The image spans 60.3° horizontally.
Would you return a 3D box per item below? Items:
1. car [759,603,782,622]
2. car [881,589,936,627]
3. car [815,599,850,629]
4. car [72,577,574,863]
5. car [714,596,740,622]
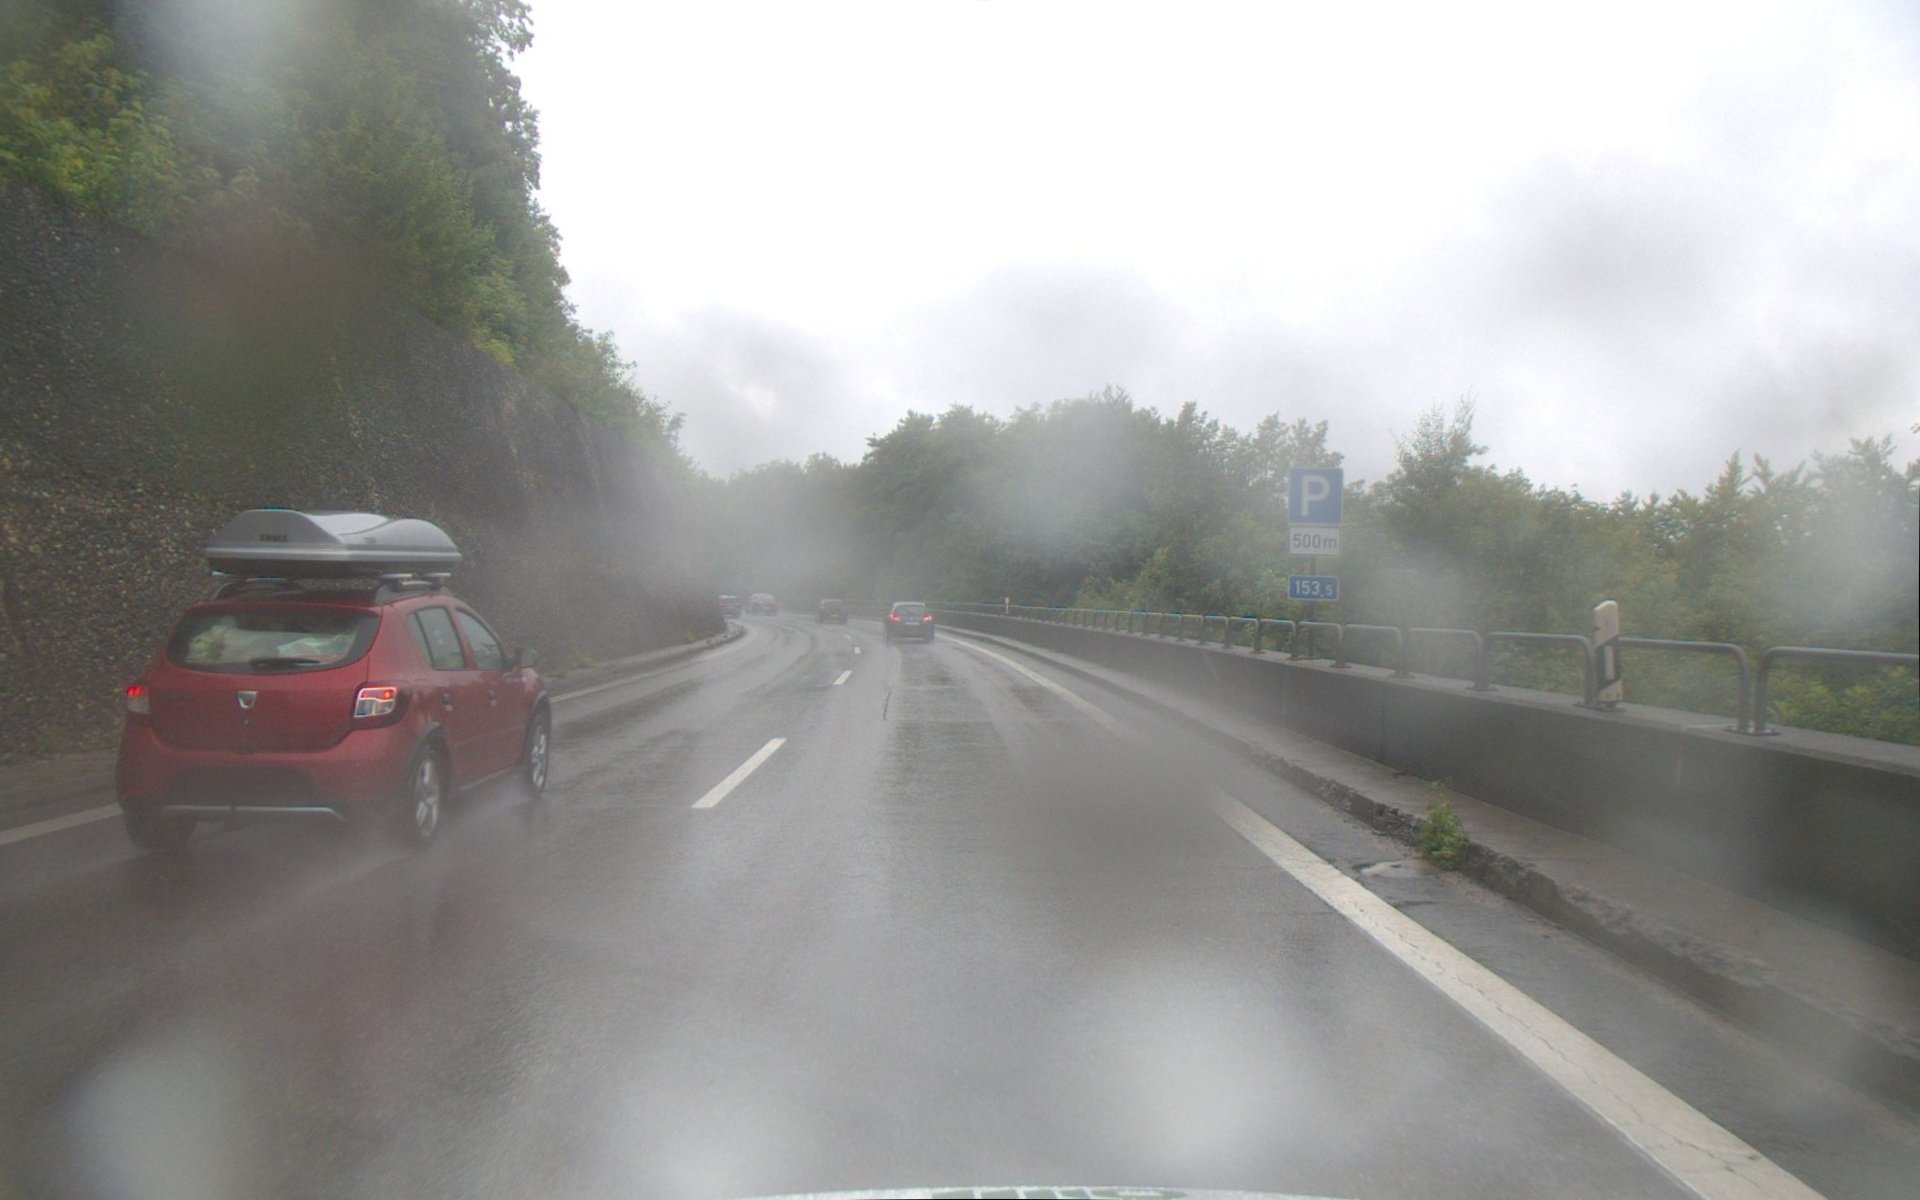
[{"bbox_3d":[-15.477,1.001,134.993,1.767,1.492,3.991,0,0,-9],"label":"car"},{"bbox_3d":[-1.926,0.288,61.049,1.765,1.330,3.995,0,0,-6],"label":"car"},{"bbox_3d":[-7.885,0.882,102.325,1.956,1.780,3.993,0,-1,-7],"label":"car"},{"bbox_3d":[-3.997,0.660,11.185,1.953,1.579,3.998,0,0,-2],"label":"car"},{"bbox_3d":[-17.790,0.683,126.245,1.956,1.937,3.992,0,-1,-8],"label":"car"}]
